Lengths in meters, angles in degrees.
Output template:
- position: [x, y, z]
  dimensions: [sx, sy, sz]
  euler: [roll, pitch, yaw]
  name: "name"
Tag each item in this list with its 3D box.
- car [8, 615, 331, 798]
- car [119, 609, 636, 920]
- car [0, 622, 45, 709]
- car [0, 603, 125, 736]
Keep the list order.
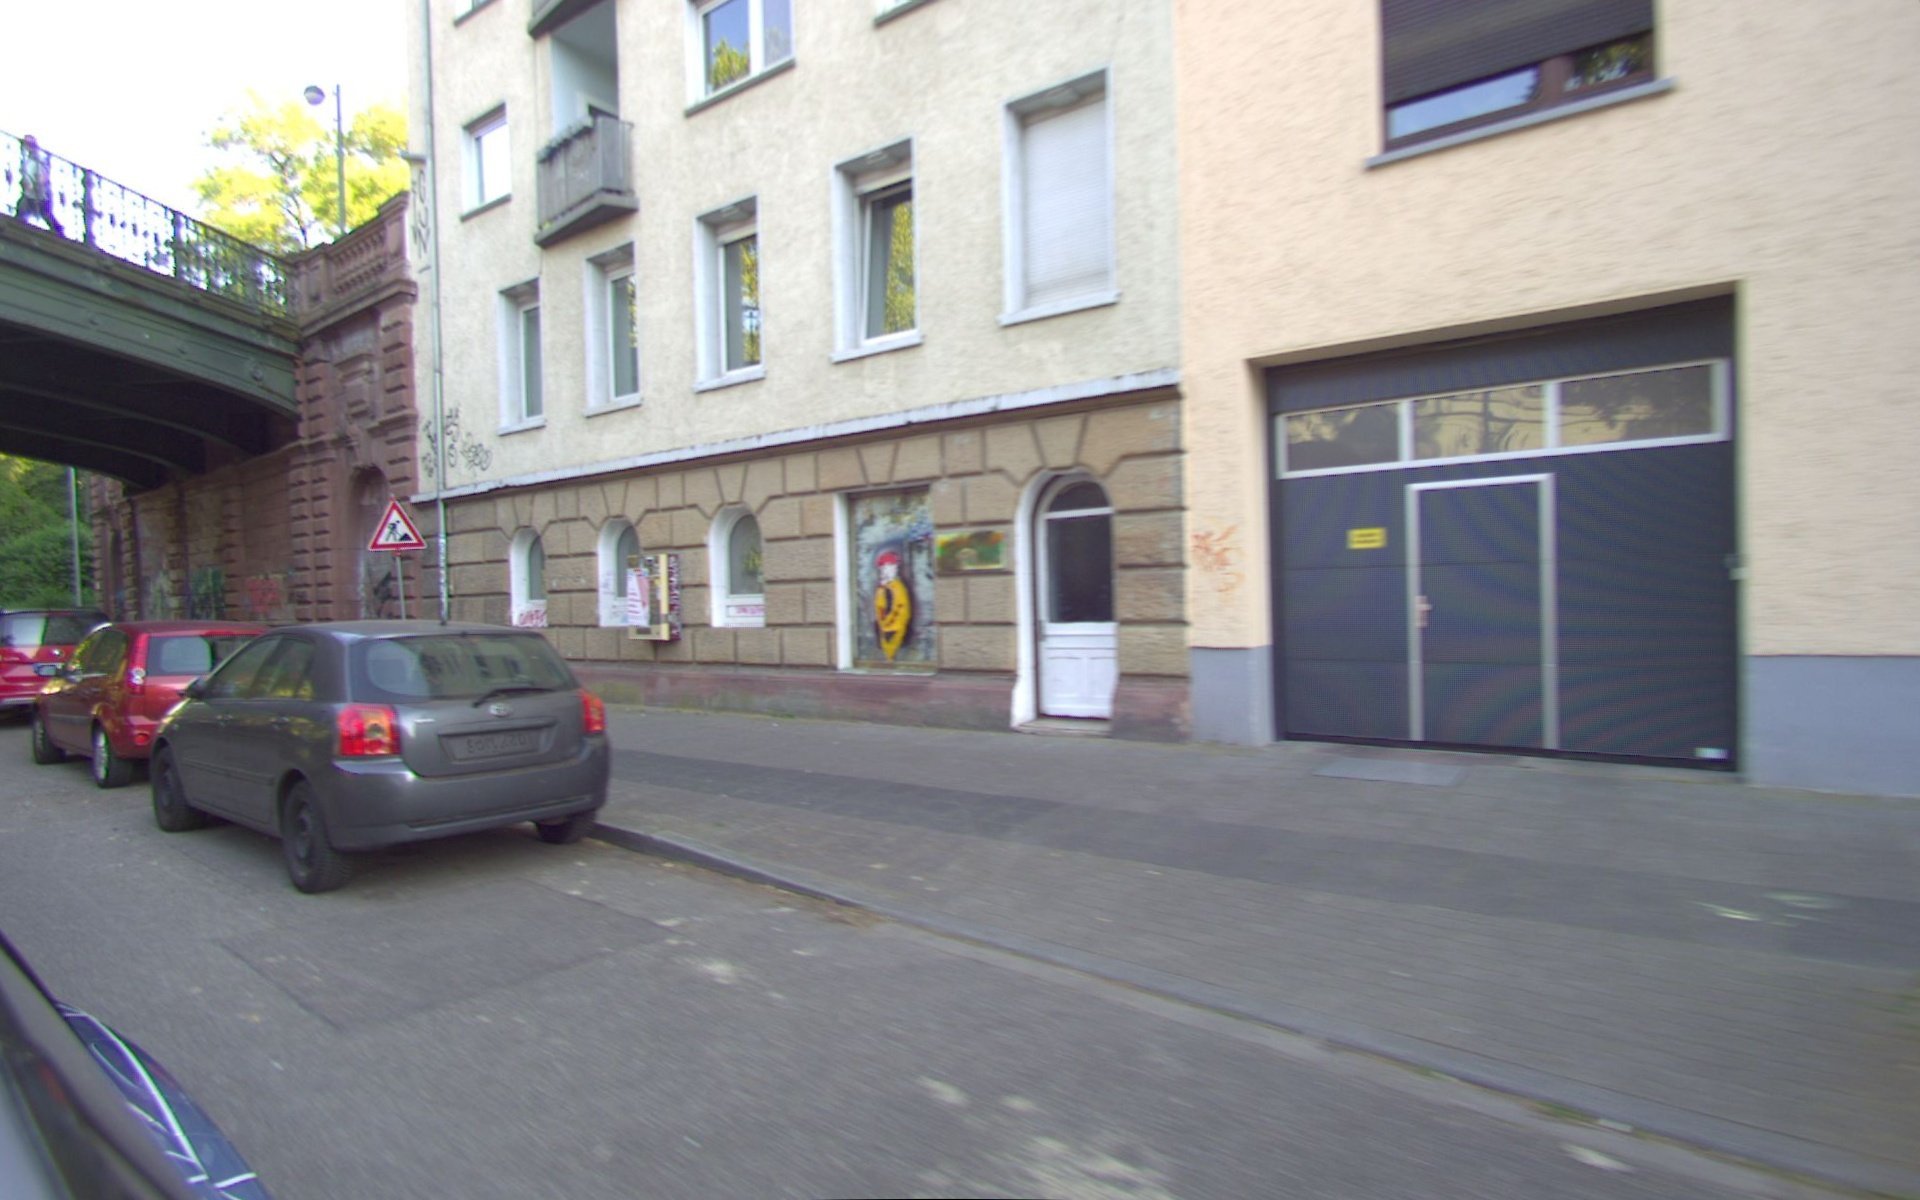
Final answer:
- position: [-8.060, 0.910, 10.198]
  dimensions: [3.995, 1.452, 1.673]
  euler: [-1, 0, 38]
  name: "car"
- position: [-4.025, 0.837, 6.730]
  dimensions: [3.995, 1.478, 1.621]
  euler: [-1, -2, 39]
  name: "car"
- position: [-18.039, 1.148, 18.228]
  dimensions: [3.995, 1.475, 1.700]
  euler: [-1, 0, 39]
  name: "car"
- position: [-13.992, 0.939, 14.834]
  dimensions: [4.314, 1.721, 1.701]
  euler: [-1, 0, 36]
  name: "car"
